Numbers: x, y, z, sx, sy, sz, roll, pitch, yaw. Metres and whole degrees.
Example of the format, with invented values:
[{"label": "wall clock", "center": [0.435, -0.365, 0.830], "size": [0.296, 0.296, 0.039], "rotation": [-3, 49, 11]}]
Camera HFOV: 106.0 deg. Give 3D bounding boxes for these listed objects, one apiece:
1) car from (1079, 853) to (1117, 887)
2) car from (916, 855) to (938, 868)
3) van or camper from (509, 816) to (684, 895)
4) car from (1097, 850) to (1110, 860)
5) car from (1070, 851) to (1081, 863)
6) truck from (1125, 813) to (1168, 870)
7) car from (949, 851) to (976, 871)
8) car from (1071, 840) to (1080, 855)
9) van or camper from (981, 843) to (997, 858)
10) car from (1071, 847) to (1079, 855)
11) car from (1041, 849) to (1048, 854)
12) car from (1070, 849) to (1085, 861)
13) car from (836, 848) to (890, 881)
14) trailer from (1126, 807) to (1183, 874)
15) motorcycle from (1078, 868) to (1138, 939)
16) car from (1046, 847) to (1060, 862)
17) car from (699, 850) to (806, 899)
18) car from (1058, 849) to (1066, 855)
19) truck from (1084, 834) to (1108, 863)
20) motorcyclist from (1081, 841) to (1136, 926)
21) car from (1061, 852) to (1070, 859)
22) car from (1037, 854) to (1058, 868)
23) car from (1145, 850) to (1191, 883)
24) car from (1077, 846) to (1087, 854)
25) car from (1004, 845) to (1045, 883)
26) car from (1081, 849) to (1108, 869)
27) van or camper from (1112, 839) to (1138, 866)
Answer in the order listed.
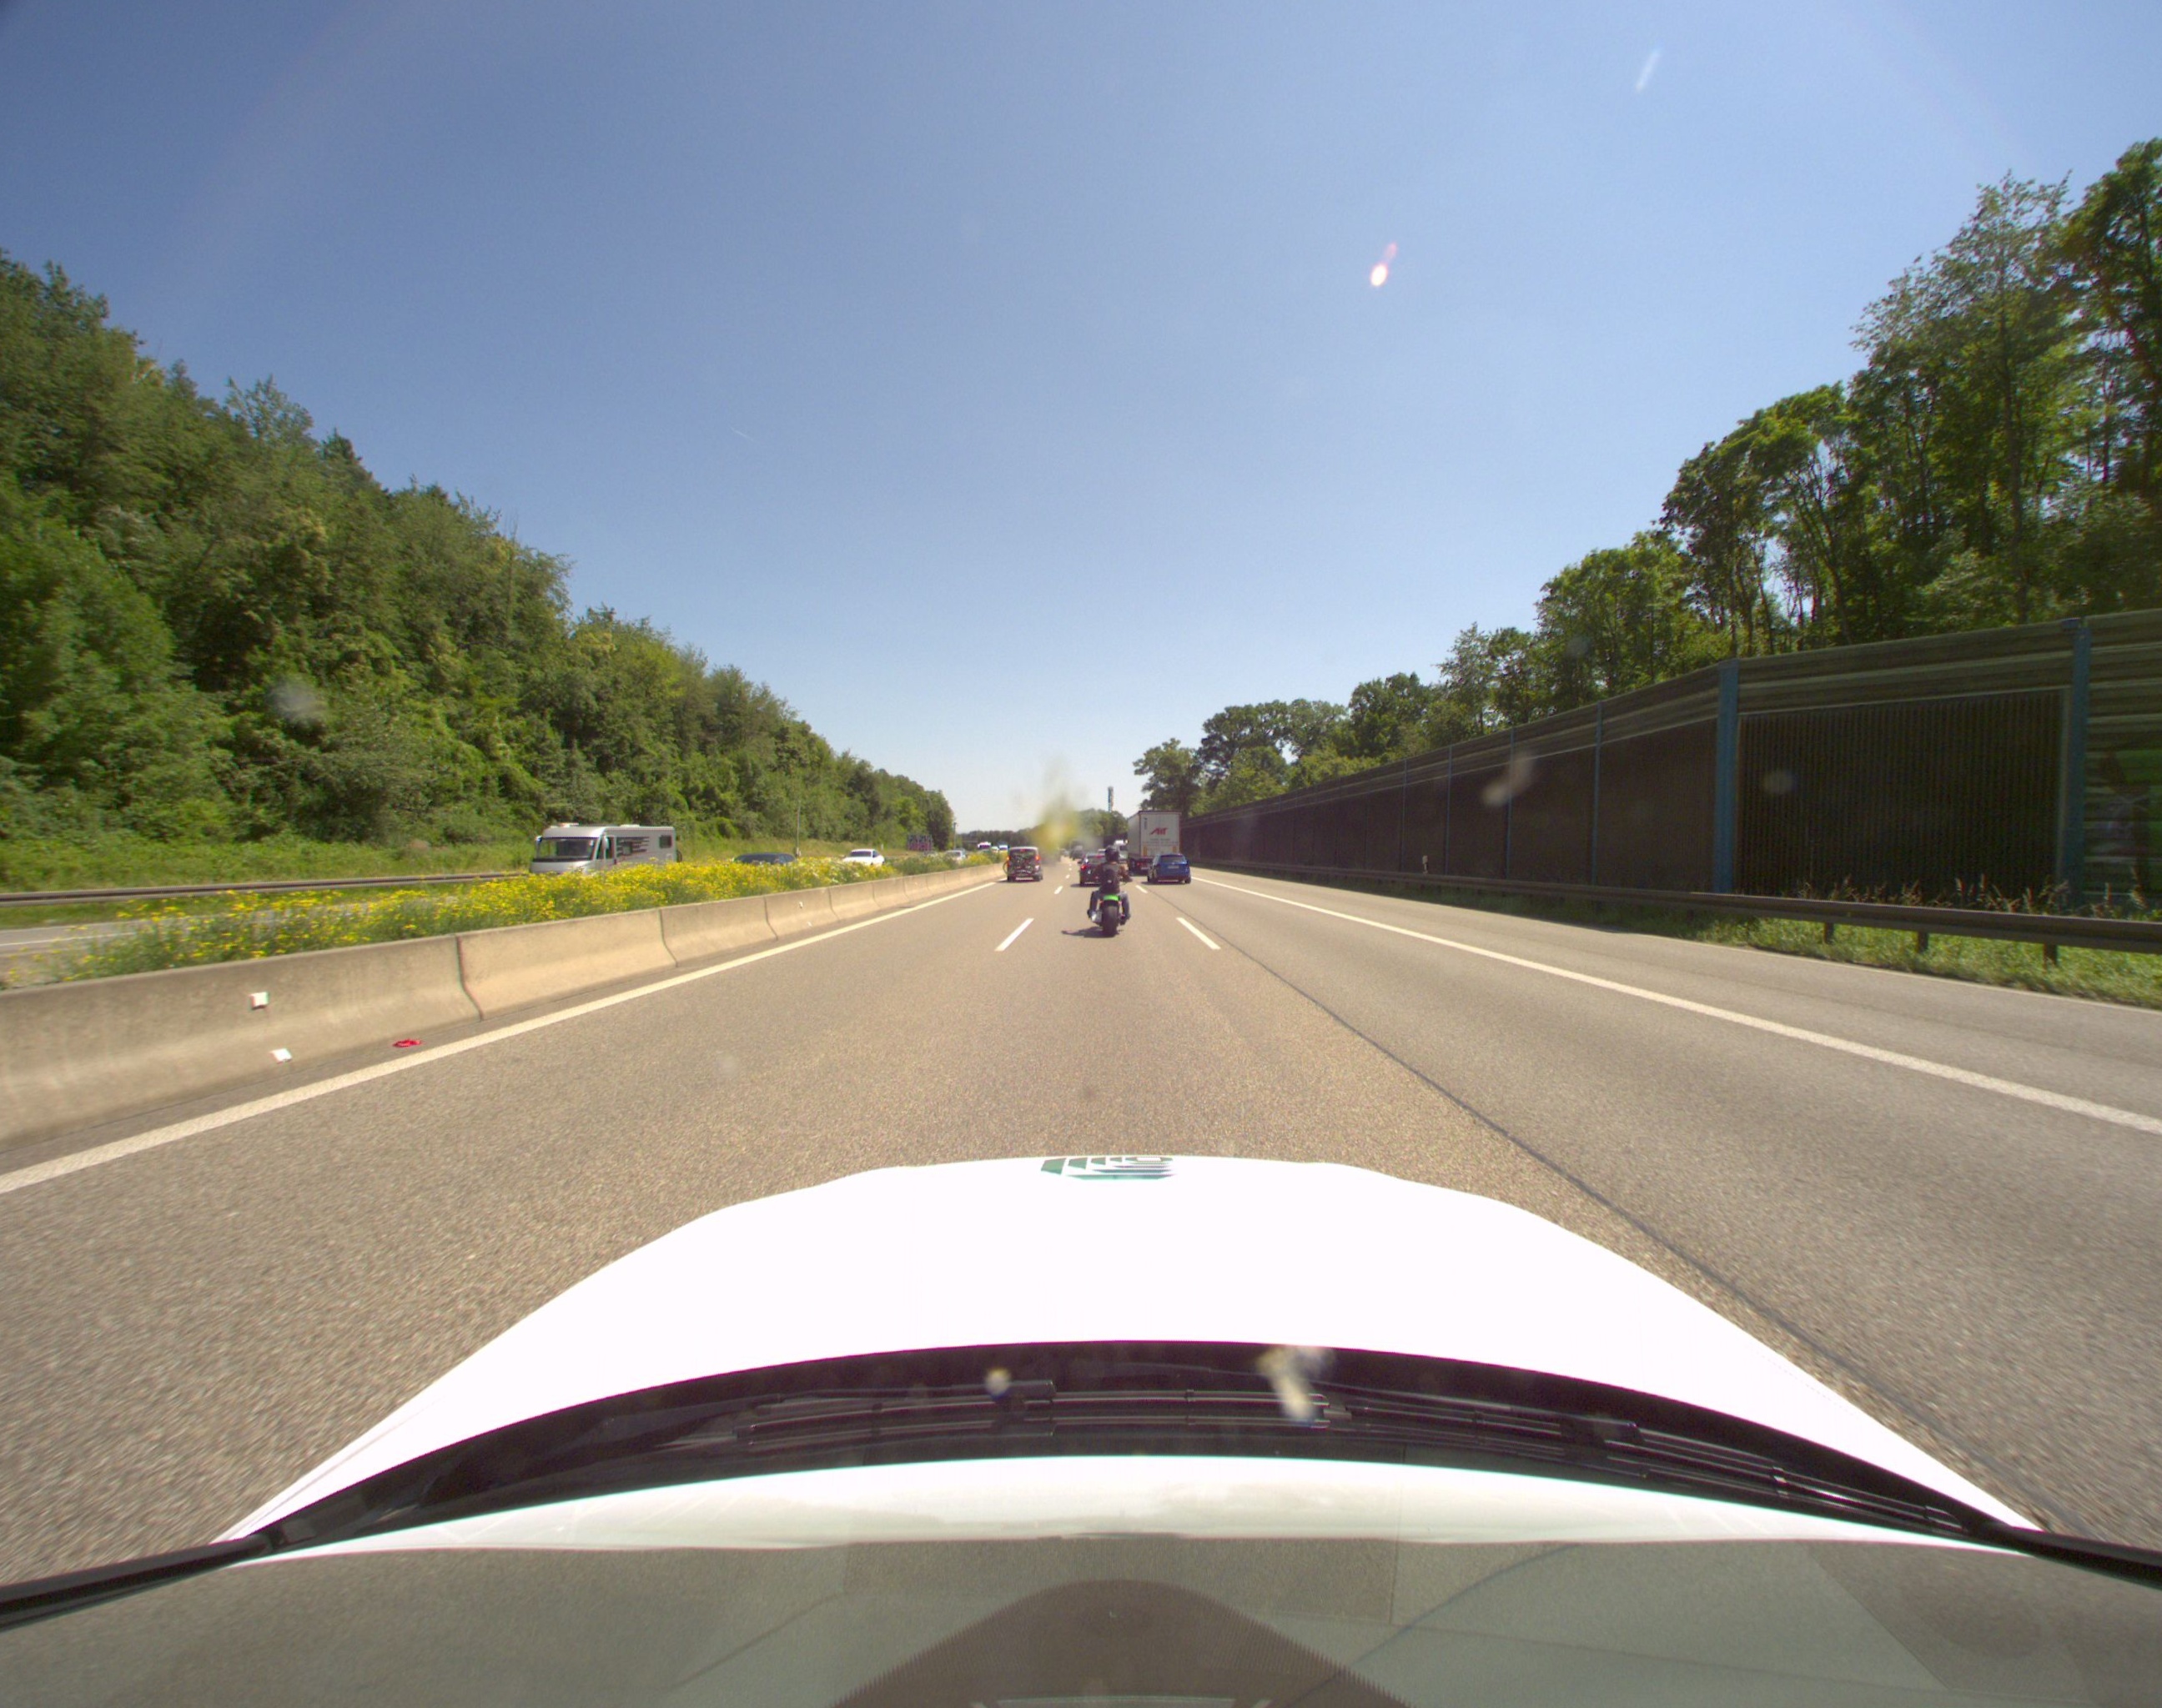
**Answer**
[{"label": "car", "center": [0.744, 0.715, 37.308], "size": [1.657, 1.453, 3.868], "rotation": [-1, -1, 0]}, {"label": "car", "center": [-17.839, 0.854, 94.461], "size": [1.782, 1.456, 4.000], "rotation": [-1, -1, 1]}, {"label": "van or camper", "center": [-17.748, 0.097, 30.452], "size": [2.178, 2.560, 6.935], "rotation": [-1, -1, 2]}, {"label": "car", "center": [3.691, 0.150, 134.542], "size": [1.988, 1.574, 3.997], "rotation": [-1, -1, -2]}, {"label": "car", "center": [-0.971, 0.604, 144.107], "size": [1.905, 2.014, 3.689], "rotation": [-1, -1, -1]}, {"label": "truck", "center": [4.958, -0.907, 63.032], "size": [2.876, 4.146, 5.986], "rotation": [-1, 0, 1]}, {"label": "car", "center": [-9.084, 0.525, 62.602], "size": [1.472, 1.442, 3.564], "rotation": [-1, -1, 1]}, {"label": "car", "center": [-1.556, -1.714, 215.881], "size": [2.128, 3.861, 8.135], "rotation": [0, 0, -2]}, {"label": "van or camper", "center": [-21.263, -0.777, 188.661], "size": [2.532, 3.317, 8.999], "rotation": [-1, -1, -1]}, {"label": "car", "center": [-1.523, -0.852, 205.500], "size": [2.102, 1.876, 3.996], "rotation": [-1, -1, -2]}, {"label": "car", "center": [-11.175, -0.756, 250.014], "size": [1.829, 1.496, 3.738], "rotation": [-1, -1, -4]}, {"label": "car", "center": [-0.540, 0.108, 117.651], "size": [1.986, 1.640, 4.001], "rotation": [-1, -1, 1]}, {"label": "car", "center": [-13.874, 0.672, 52.055], "size": [1.985, 2.014, 4.571], "rotation": [-1, -1, 3]}, {"label": "trailer", "center": [4.866, -0.870, 56.528], "size": [2.876, 4.038, 13.796], "rotation": [-1, 0, 1]}, {"label": "motorcycle", "center": [0.555, 0.873, 15.277], "size": [0.960, 1.148, 2.815], "rotation": [0, 0, 5]}, {"label": "car", "center": [-3.631, 0.086, 107.634], "size": [1.787, 2.014, 3.639], "rotation": [-1, -1, -2]}, {"label": "car", "center": [-10.740, 0.635, 26.913], "size": [1.801, 1.486, 3.859], "rotation": [-1, 0, 3]}, {"label": "car", "center": [-4.617, -0.431, 198.180], "size": [1.826, 1.496, 3.742], "rotation": [-1, -1, 0]}, {"label": "truck", "center": [2.797, -0.944, 150.876], "size": [3.794, 4.960, 8.941], "rotation": [-1, -1, -3]}, {"label": "motorcyclist", "center": [0.549, 0.534, 15.205], "size": [0.895, 1.475, 1.874], "rotation": [-1, -1, 5]}, {"label": "car", "center": [-3.240, 0.345, 170.095], "size": [1.827, 1.496, 3.742], "rotation": [-1, -1, -1]}, {"label": "car", "center": [-3.417, 0.780, 84.549], "size": [1.987, 1.387, 3.999], "rotation": [-1, -1, 0]}, {"label": "car", "center": [4.167, 0.620, 39.467], "size": [1.646, 1.483, 4.479], "rotation": [-1, -1, -1]}, {"label": "car", "center": [0.208, -0.962, 199.838], "size": [2.102, 1.876, 3.996], "rotation": [-1, -1, -2]}, {"label": "car", "center": [-2.972, 0.529, 43.535], "size": [1.893, 1.873, 4.411], "rotation": [-1, -1, 0]}, {"label": "car", "center": [1.004, 0.383, 62.581], "size": [1.987, 1.430, 3.847], "rotation": [-1, -1, 0]}, {"label": "van or camper", "center": [4.976, -0.120, 92.296], "size": [2.675, 2.813, 6.804], "rotation": [-1, -1, 1]}]
